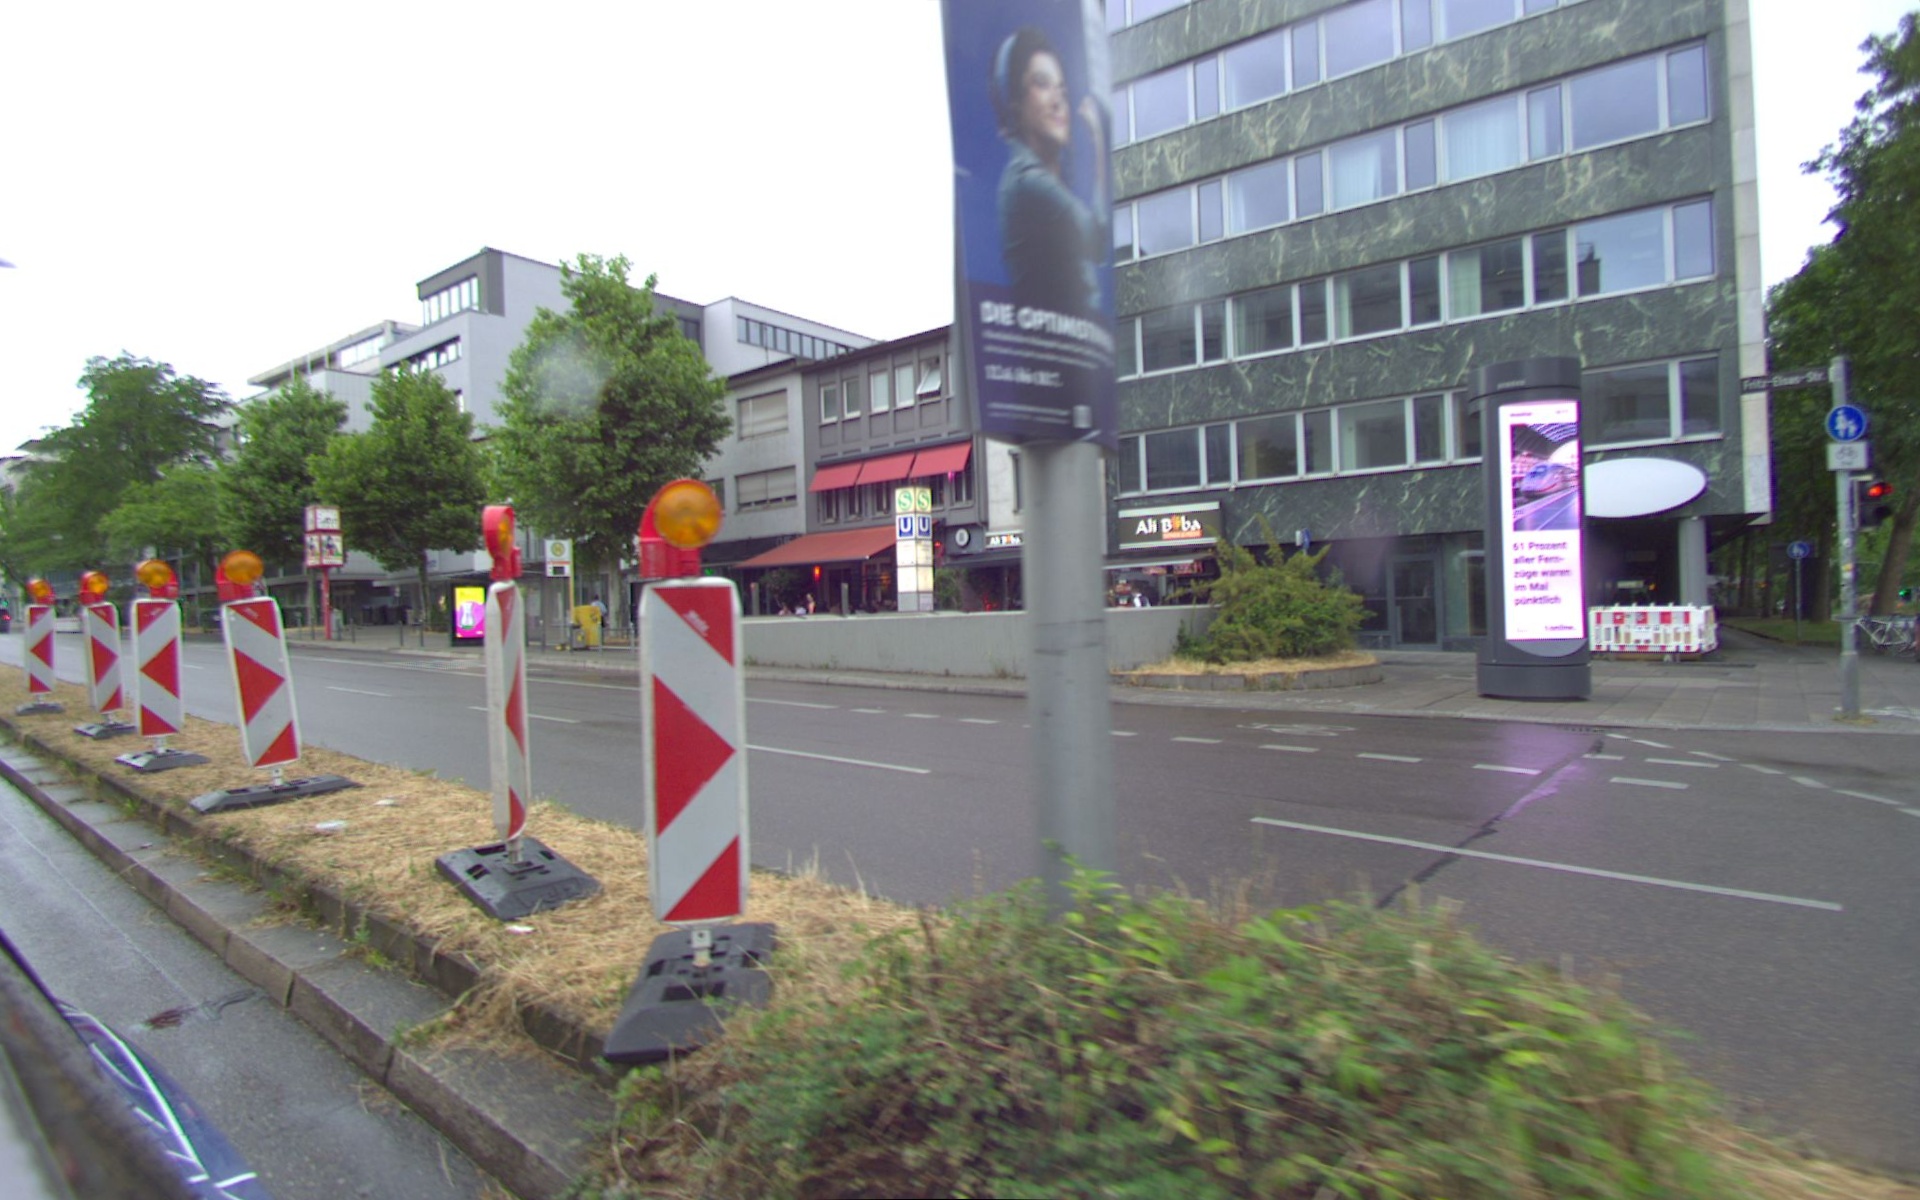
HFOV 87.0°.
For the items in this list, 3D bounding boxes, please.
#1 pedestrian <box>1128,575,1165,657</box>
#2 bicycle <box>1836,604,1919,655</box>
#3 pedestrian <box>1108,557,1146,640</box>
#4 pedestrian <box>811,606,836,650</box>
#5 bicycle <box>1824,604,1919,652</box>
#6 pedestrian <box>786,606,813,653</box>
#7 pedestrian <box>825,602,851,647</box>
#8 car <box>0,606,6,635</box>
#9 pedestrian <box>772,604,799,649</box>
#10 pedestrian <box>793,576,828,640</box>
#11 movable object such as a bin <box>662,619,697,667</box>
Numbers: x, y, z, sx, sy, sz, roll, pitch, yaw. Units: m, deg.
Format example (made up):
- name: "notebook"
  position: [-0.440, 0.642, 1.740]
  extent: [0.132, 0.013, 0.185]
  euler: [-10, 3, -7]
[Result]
- name: "pedestrian"
  position: [4.710, 0.395, 25.566]
  extent: [0.588, 2.029, 0.730]
  euler: [0, -1, -29]
- name: "bicycle"
  position: [20.228, 0.633, 21.952]
  extent: [1.780, 1.060, 0.579]
  euler: [-1, -1, 37]
- name: "pedestrian"
  position: [4.164, -0.042, 25.273]
  extent: [0.588, 2.029, 0.730]
  euler: [0, -1, -29]
- name: "pedestrian"
  position: [-4.853, 0.988, 35.977]
  extent: [0.611, 1.540, 0.660]
  euler: [-1, -1, 44]
- name: "bicycle"
  position: [20.724, 0.626, 22.860]
  extent: [1.780, 1.060, 0.579]
  euler: [-1, -1, 37]
- name: "pedestrian"
  position: [-5.410, 0.992, 34.092]
  extent: [0.611, 1.540, 0.660]
  euler: [-1, -1, 44]
- name: "pedestrian"
  position: [-4.290, 0.854, 35.502]
  extent: [0.611, 1.540, 0.660]
  euler: [-1, -1, 44]
- name: "car"
  position: [-70.074, 1.405, 72.563]
  extent: [4.963, 1.942, 1.972]
  euler: [1, -1, 42]
- name: "pedestrian"
  position: [-6.011, 0.895, 34.831]
  extent: [0.611, 1.540, 0.660]
  euler: [-1, -1, 44]
- name: "pedestrian"
  position: [-4.331, 0.222, 29.308]
  extent: [0.789, 1.837, 0.604]
  euler: [0, 0, 31]
- name: "movable object such as a bin"
  position: [-6.642, 1.005, 23.938]
  extent: [0.660, 1.109, 0.501]
  euler: [0, 0, 39]
